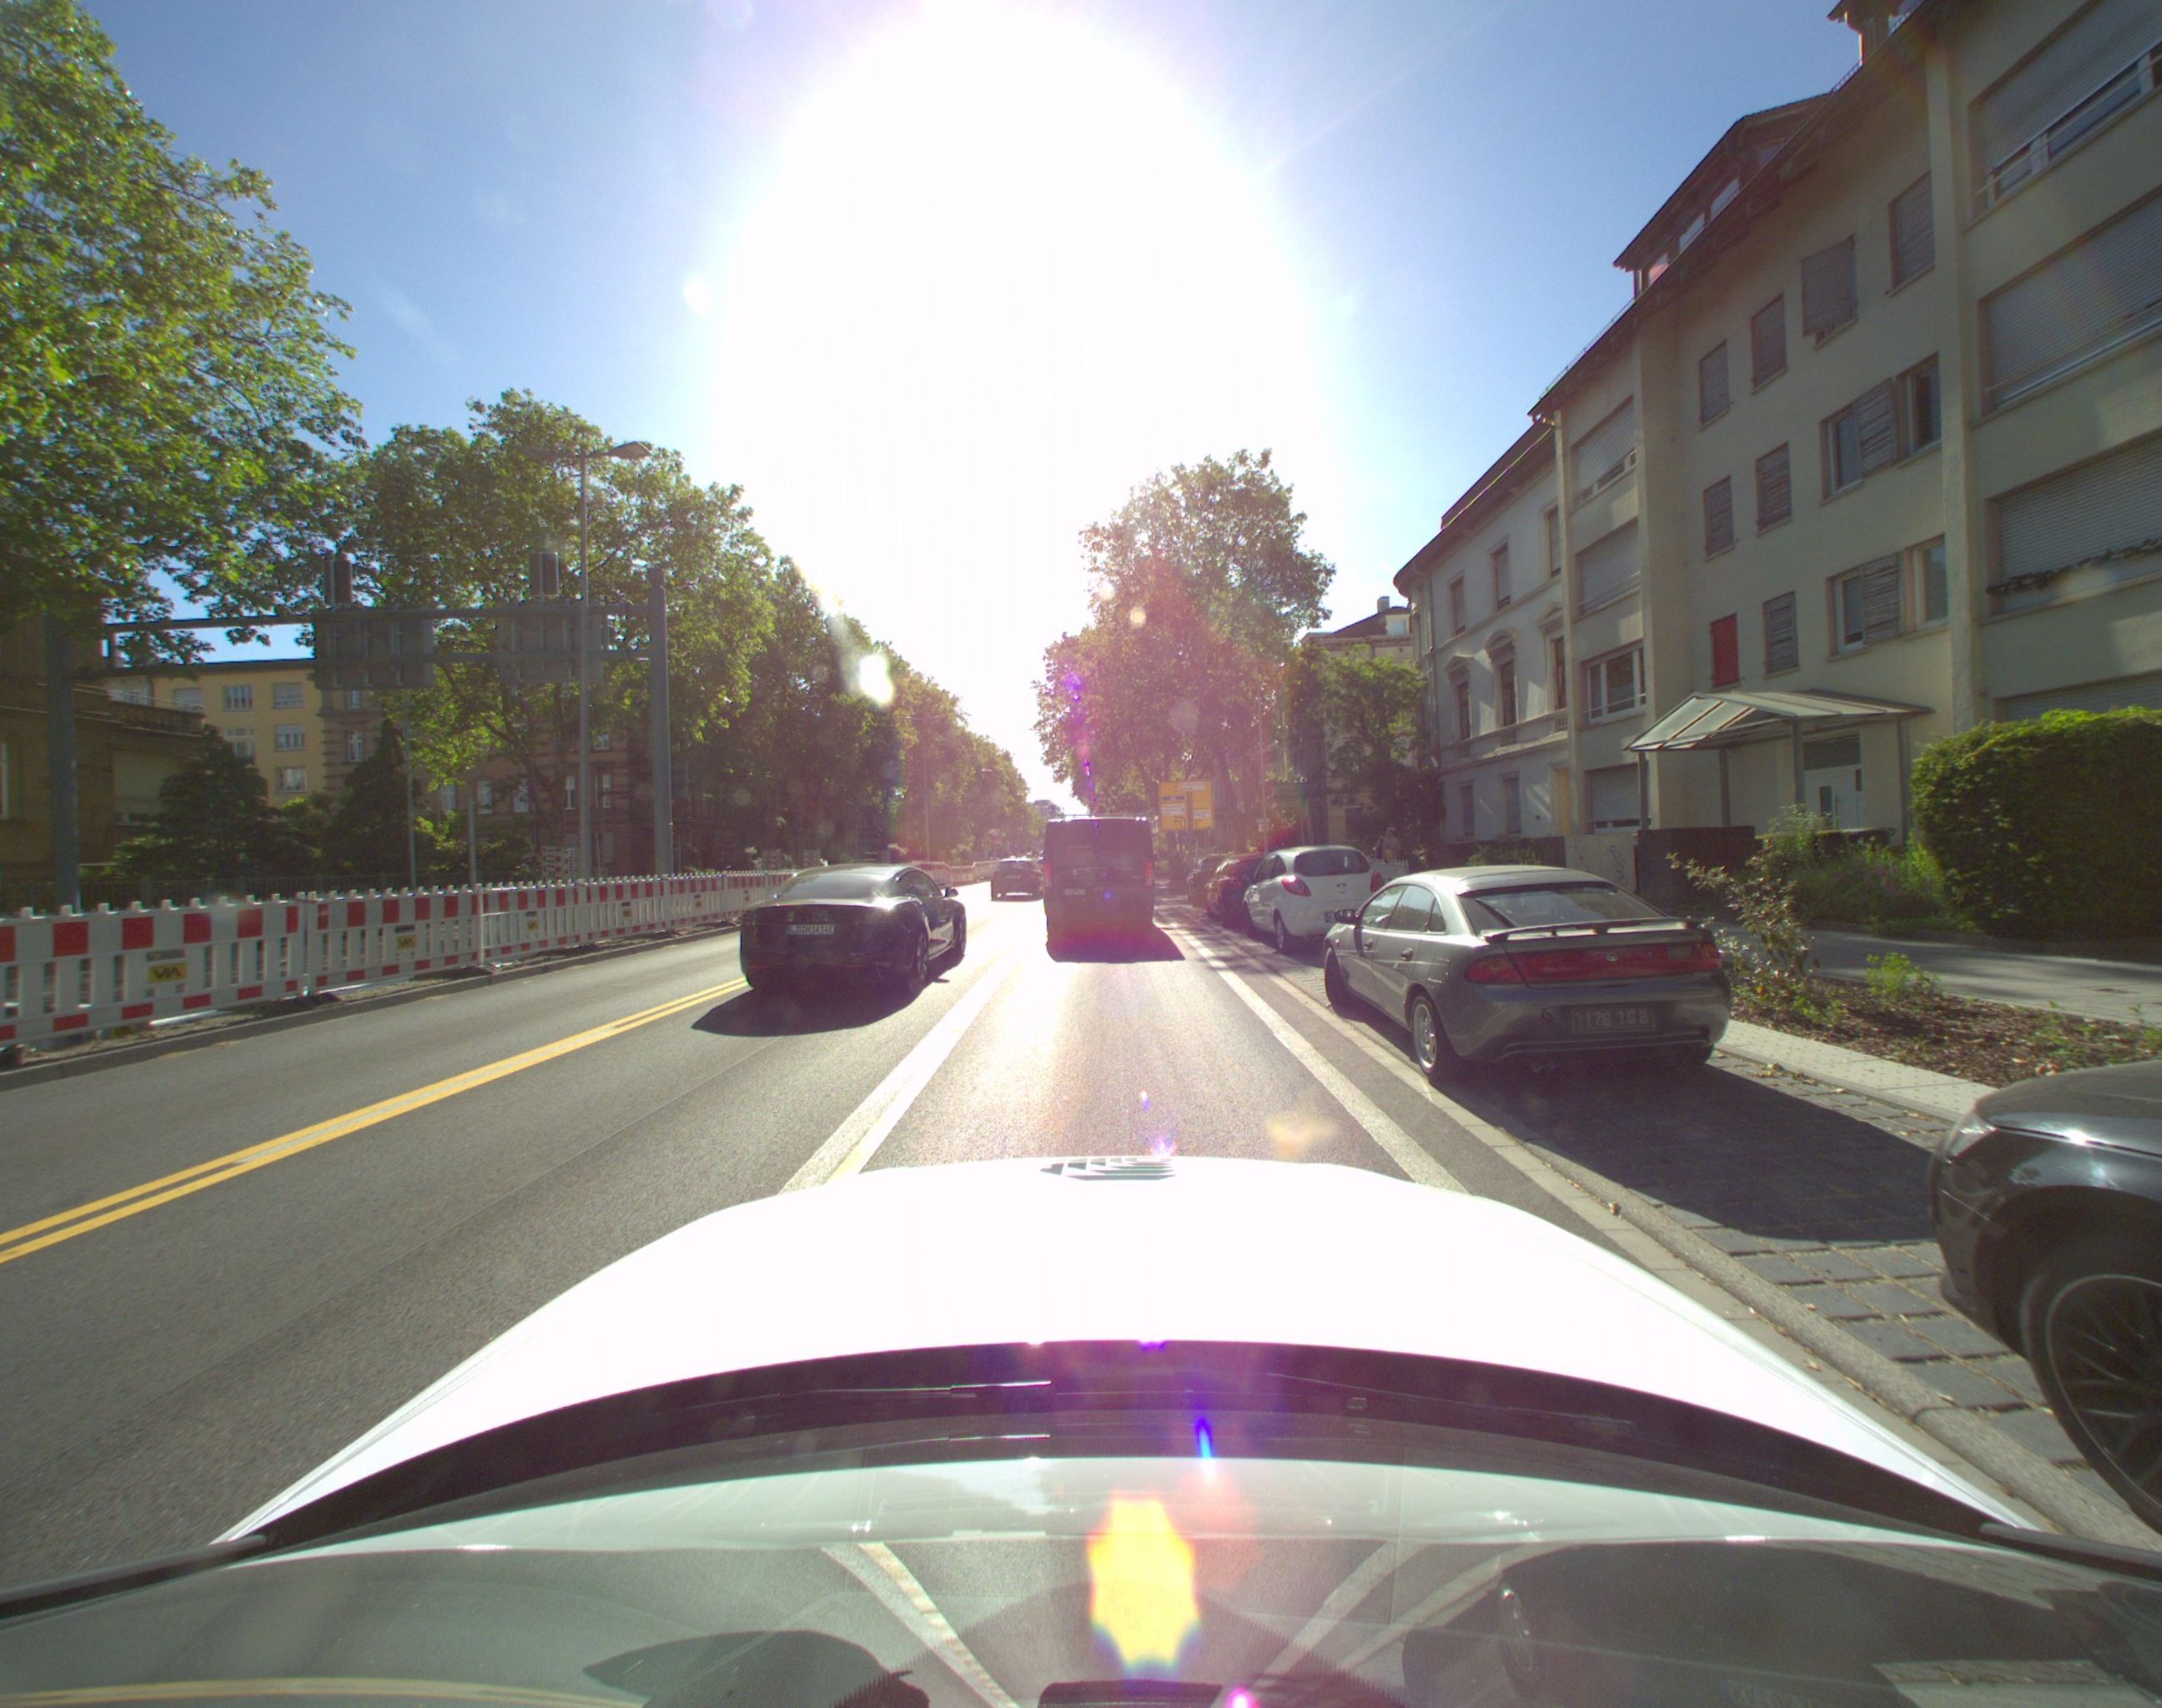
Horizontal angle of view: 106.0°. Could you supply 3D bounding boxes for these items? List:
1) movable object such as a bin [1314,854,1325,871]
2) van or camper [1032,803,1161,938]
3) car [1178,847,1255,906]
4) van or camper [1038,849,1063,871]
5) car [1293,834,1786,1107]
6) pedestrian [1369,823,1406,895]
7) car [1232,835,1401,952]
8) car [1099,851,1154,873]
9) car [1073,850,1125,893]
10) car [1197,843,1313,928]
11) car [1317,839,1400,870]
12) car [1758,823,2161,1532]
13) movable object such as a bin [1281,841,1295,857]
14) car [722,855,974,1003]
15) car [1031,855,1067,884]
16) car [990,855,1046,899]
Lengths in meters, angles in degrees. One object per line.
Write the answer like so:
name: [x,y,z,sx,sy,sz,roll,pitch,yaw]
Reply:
movable object such as a bin: [14.016,0.509,47.857,0.516,0.970,0.399,-2,-1,4]
van or camper: [0.299,0.293,16.766,2.238,2.346,4.537,-1,0,0]
car: [3.886,0.620,23.959,1.614,1.486,4.099,-4,0,2]
van or camper: [-3.066,0.633,82.945,1.986,2.013,5.331,-4,0,2]
car: [3.076,0.652,6.560,1.710,1.412,4.050,-4,0,2]
pedestrian: [8.117,0.120,21.591,0.662,1.849,0.694,-3,-1,1]
car: [3.542,0.545,12.929,1.614,1.486,3.735,-4,0,2]
car: [3.556,0.632,63.465,3.983,1.568,1.774,2,-1,-7]
car: [0.751,0.619,31.418,1.826,1.486,4.060,-2,0,3]
car: [3.526,0.592,17.181,1.614,1.486,4.058,-4,0,2]
car: [15.166,0.027,44.638,3.913,1.561,1.875,-1,2,3]
car: [3.013,0.640,0.358,1.710,1.412,4.478,-5,0,2]
movable object such as a bin: [12.492,-0.305,49.192,0.684,0.970,0.548,-2,-1,4]
car: [-2.690,0.775,10.599,1.831,1.483,4.478,-1,0,2]
car: [-1.695,0.787,44.062,1.614,1.486,3.735,-1,0,2]
car: [-2.250,0.779,29.732,1.614,1.486,3.735,-1,0,2]
